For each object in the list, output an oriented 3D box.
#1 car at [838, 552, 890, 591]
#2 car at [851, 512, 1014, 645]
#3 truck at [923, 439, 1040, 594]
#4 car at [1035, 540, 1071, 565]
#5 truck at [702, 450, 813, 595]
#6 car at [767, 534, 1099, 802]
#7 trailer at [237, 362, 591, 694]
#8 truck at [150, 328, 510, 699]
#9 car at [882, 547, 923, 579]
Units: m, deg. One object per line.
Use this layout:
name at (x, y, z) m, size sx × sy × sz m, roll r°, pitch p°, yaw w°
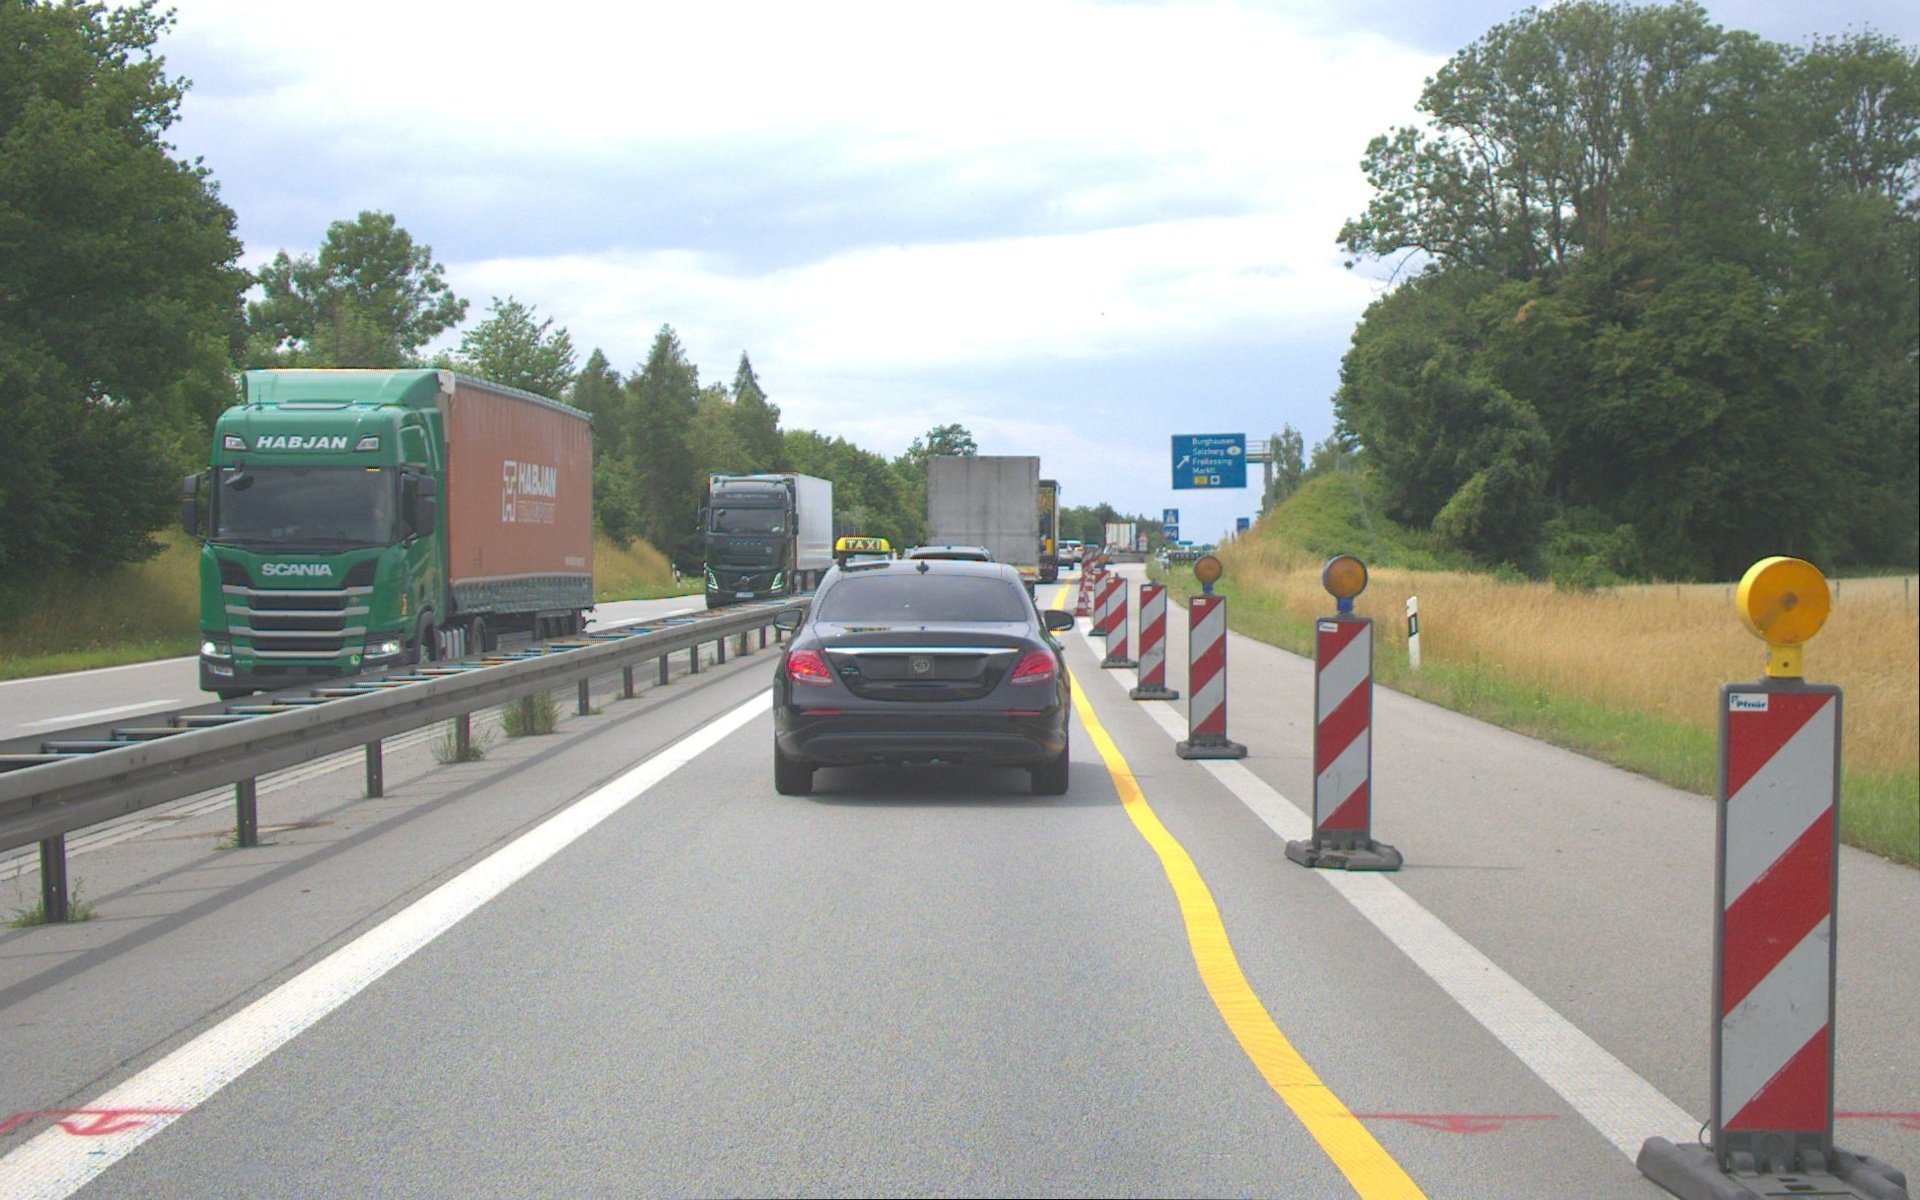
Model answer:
car at (-4.098, -1.205, 146.939) m, size 1.993 × 1.612 × 4.000 m, roll 1°, pitch 0°, yaw 1°
car at (-0.474, -0.336, 54.349) m, size 1.993 × 2.007 × 4.001 m, roll 1°, pitch 0°, yaw -9°
truck at (0.464, -1.929, 81.145) m, size 2.587 × 3.512 × 4.813 m, roll 1°, pitch 0°, yaw -1°
car at (5.210, -2.661, 193.289) m, size 1.649 × 1.391 × 3.706 m, roll 1°, pitch 0°, yaw -4°
truck at (-5.969, -2.236, 102.225) m, size 2.640 × 4.156 × 6.985 m, roll 1°, pitch 0°, yaw 2°
car at (-0.083, 0.396, 22.262) m, size 1.796 × 1.554 × 3.999 m, roll 1°, pitch 0°, yaw 4°
trailer at (-7.608, -0.935, 49.745) m, size 3.150 × 4.199 × 11.642 m, roll 1°, pitch 0°, yaw 0°
truck at (-7.642, -1.001, 42.656) m, size 3.123 × 4.199 × 6.781 m, roll 1°, pitch 0°, yaw 0°
car at (-2.977, -1.896, 178.285) m, size 1.993 × 1.612 × 4.000 m, roll 1°, pitch 0°, yaw 1°
